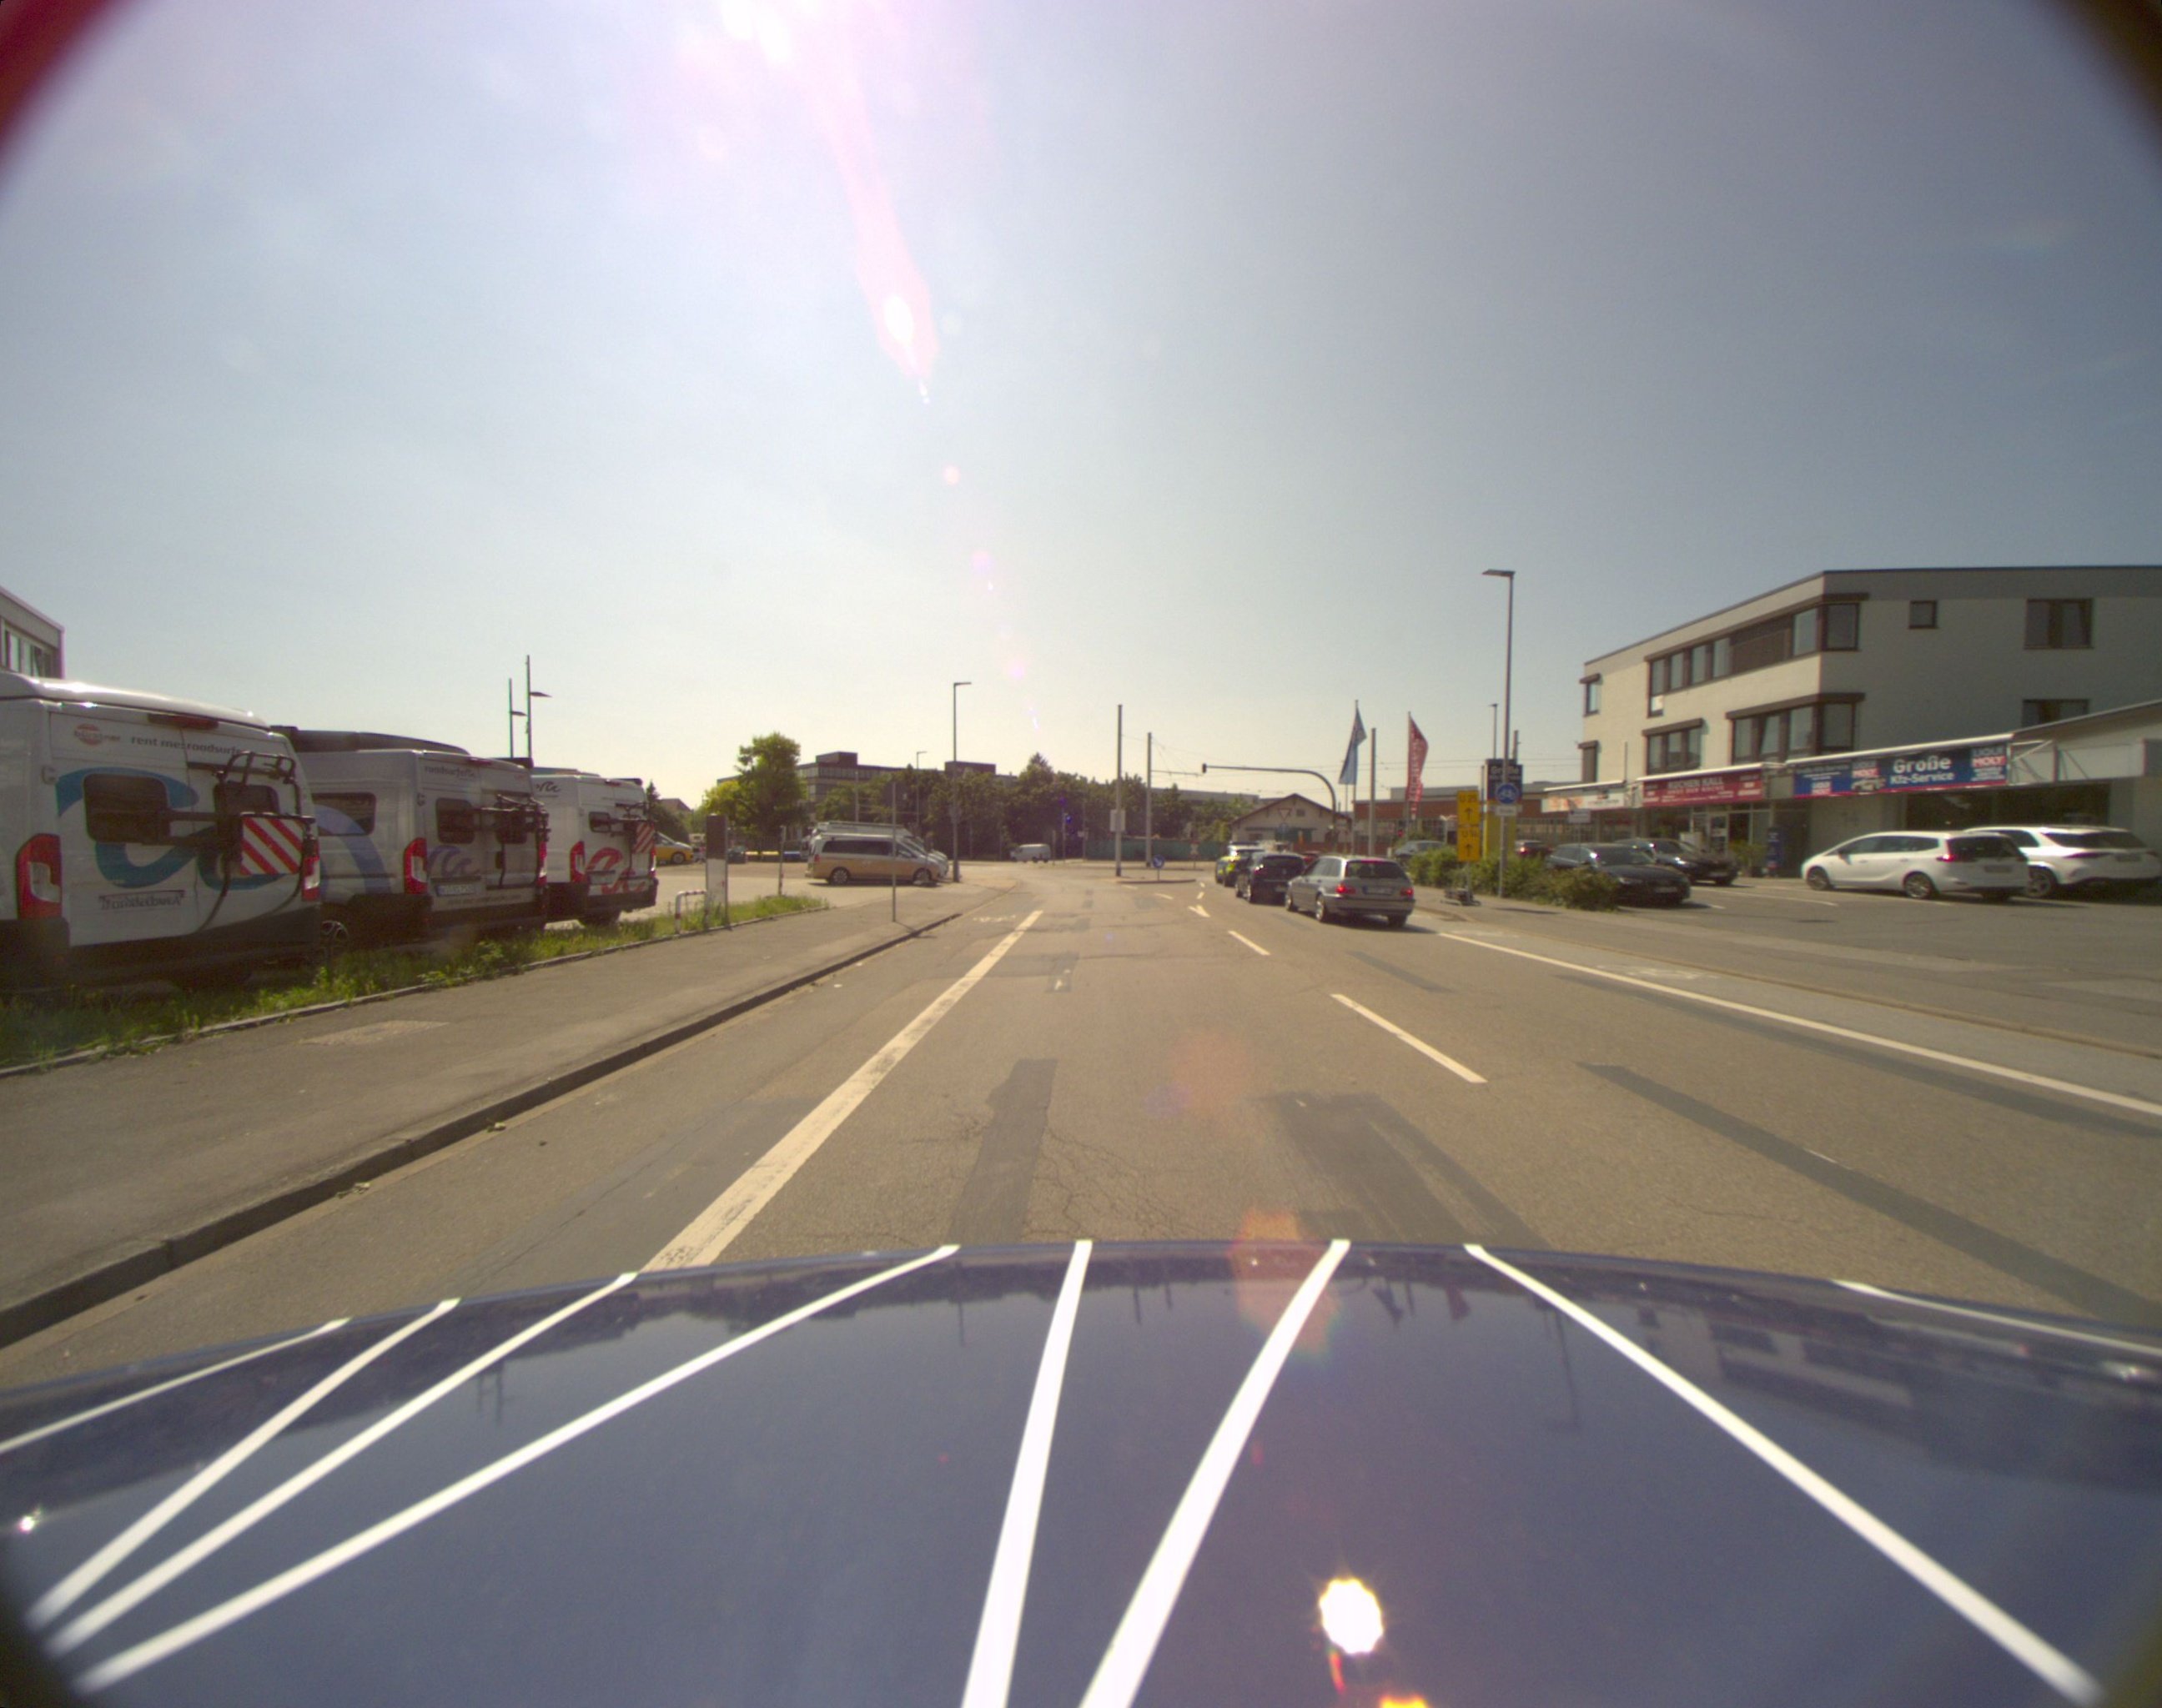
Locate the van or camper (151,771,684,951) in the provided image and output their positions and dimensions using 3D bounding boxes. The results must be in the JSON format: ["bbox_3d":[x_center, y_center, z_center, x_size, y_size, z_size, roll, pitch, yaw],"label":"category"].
[{"bbox_3d":[-10.106,0.077,12.079,6.210,2.510,2.618,0,1,1],"label":"van or camper"}]

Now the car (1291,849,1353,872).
[{"bbox_3d":[16.636,0.433,52.402,4.115,1.446,1.764,-2,1,-31],"label":"car"}]

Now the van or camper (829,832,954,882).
[{"bbox_3d":[-8.302,0.124,33.383,4.990,2.034,2.037,0,2,-29],"label":"van or camper"}]

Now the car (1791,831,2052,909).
[{"bbox_3d":[21.240,0.291,19.567,1.911,1.699,4.478,1,3,6],"label":"car"}]

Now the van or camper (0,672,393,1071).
[{"bbox_3d":[-10.322,0.083,6.537,6.364,2.685,2.712,0,1,1],"label":"van or camper"}]

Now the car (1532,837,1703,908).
[{"bbox_3d":[14.163,0.429,20.396,1.909,1.705,4.000,1,1,4],"label":"car"}]

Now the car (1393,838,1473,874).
[{"bbox_3d":[16.646,0.054,36.212,1.911,1.564,4.819,1,1,5],"label":"car"}]

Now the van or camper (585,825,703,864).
[{"bbox_3d":[-24.178,-0.516,42.159,5.430,2.027,2.287,0,1,-36],"label":"van or camper"}]

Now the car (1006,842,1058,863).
[{"bbox_3d":[-5.358,-0.160,82.226,5.515,2.121,2.217,1,2,37],"label":"car"}]

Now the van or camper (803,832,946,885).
[{"bbox_3d":[-8.222,0.193,30.350,5.145,1.950,1.981,1,2,-29],"label":"van or camper"}]

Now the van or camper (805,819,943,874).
[{"bbox_3d":[-10.516,-0.370,38.848,6.375,2.621,2.526,0,1,-34],"label":"van or camper"}]

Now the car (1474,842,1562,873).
[{"bbox_3d":[20.927,0.141,36.647,1.911,1.380,4.486,1,1,5],"label":"car"}]

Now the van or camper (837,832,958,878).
[{"bbox_3d":[-8.798,0.023,36.465,5.148,2.064,2.446,0,1,-31],"label":"van or camper"}]

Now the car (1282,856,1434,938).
[{"bbox_3d":[5.719,0.813,16.314,1.746,1.396,4.324,2,1,2],"label":"car"}]

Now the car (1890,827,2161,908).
[{"bbox_3d":[23.790,0.273,19.319,1.911,1.806,4.419,1,1,5],"label":"car"}]

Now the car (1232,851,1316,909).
[{"bbox_3d":[5.501,0.678,22.143,1.664,1.446,4.241,2,1,5],"label":"car"}]

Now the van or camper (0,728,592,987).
[{"bbox_3d":[-10.117,0.007,9.421,6.364,2.701,2.712,0,1,1],"label":"van or camper"}]

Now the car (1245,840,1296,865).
[{"bbox_3d":[16.605,-0.122,66.786,2.000,1.936,4.425,0,3,-25],"label":"car"}]

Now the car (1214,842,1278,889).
[{"bbox_3d":[6.454,0.393,30.217,1.897,1.748,4.354,1,1,5],"label":"car"}]

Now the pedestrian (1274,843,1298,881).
[{"bbox_3d":[9.337,0.363,34.647,0.995,1.676,0.800,1,1,13],"label":"pedestrian"}]

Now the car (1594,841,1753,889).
[{"bbox_3d":[18.897,0.294,24.529,1.911,1.413,4.419,1,1,5],"label":"car"}]

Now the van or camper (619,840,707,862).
[{"bbox_3d":[-30.910,-0.231,56.228,5.430,1.602,2.287,0,1,-36],"label":"van or camper"}]
